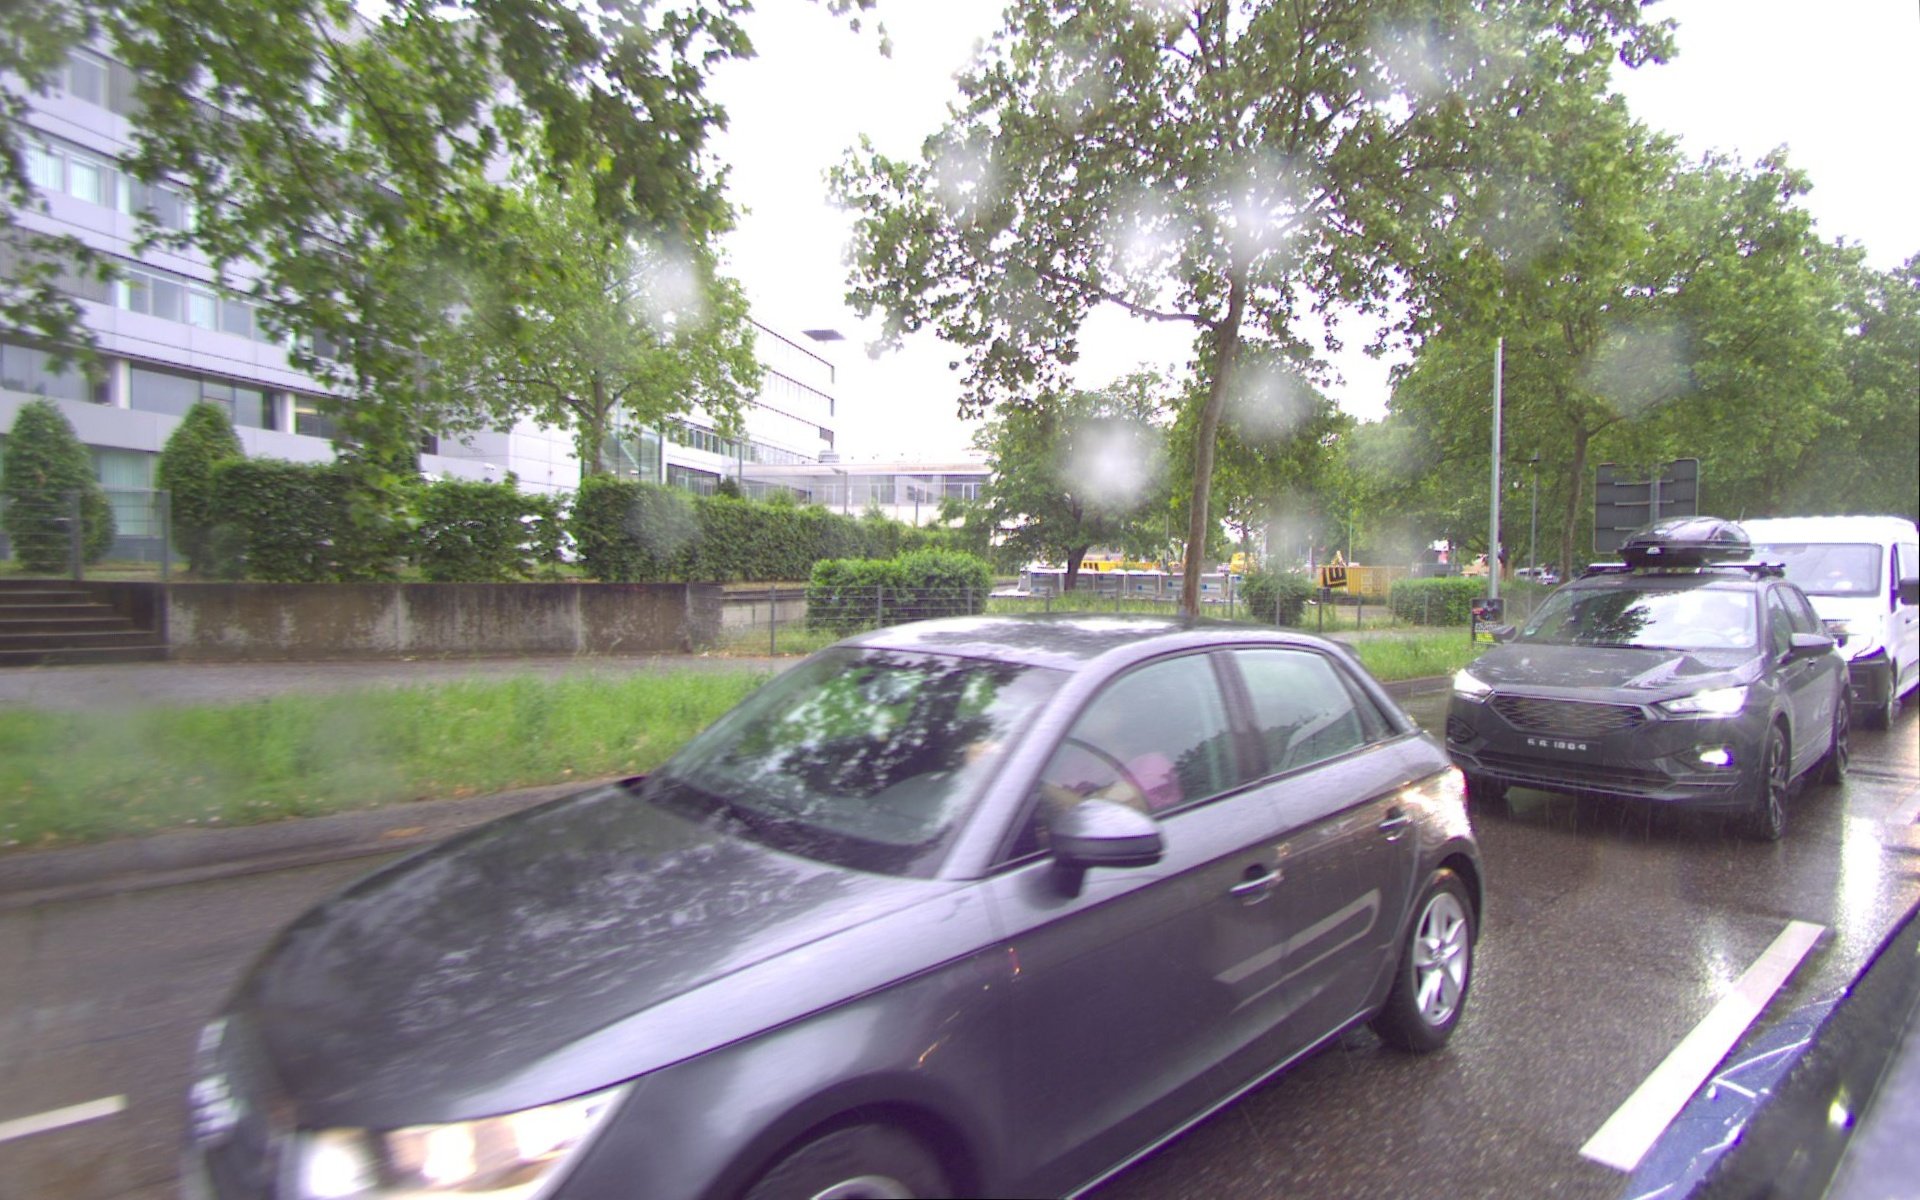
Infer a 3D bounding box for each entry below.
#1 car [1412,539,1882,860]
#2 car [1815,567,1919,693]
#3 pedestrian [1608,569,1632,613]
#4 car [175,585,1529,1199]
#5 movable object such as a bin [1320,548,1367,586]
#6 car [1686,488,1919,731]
[{"bbox_3d":[5.305,0.494,7.568,4.347,1.719,1.892,-1,1,-42],"label":"car"},{"bbox_3d":[16.165,0.429,17.302,4.470,1.937,1.805,-1,1,-43],"label":"car"},{"bbox_3d":[26.687,-0.370,40.905,0.645,1.738,0.645,-1,0,-40],"label":"pedestrian"},{"bbox_3d":[0.067,0.685,2.998,3.715,1.445,1.679,-1,1,-41],"label":"car"},{"bbox_3d":[35.501,-3.011,93.837,1.879,3.477,4.946,-1,1,-8],"label":"movable object such as a bin"},{"bbox_3d":[10.981,0.059,12.784,5.227,2.476,1.892,-1,1,-42],"label":"car"}]
